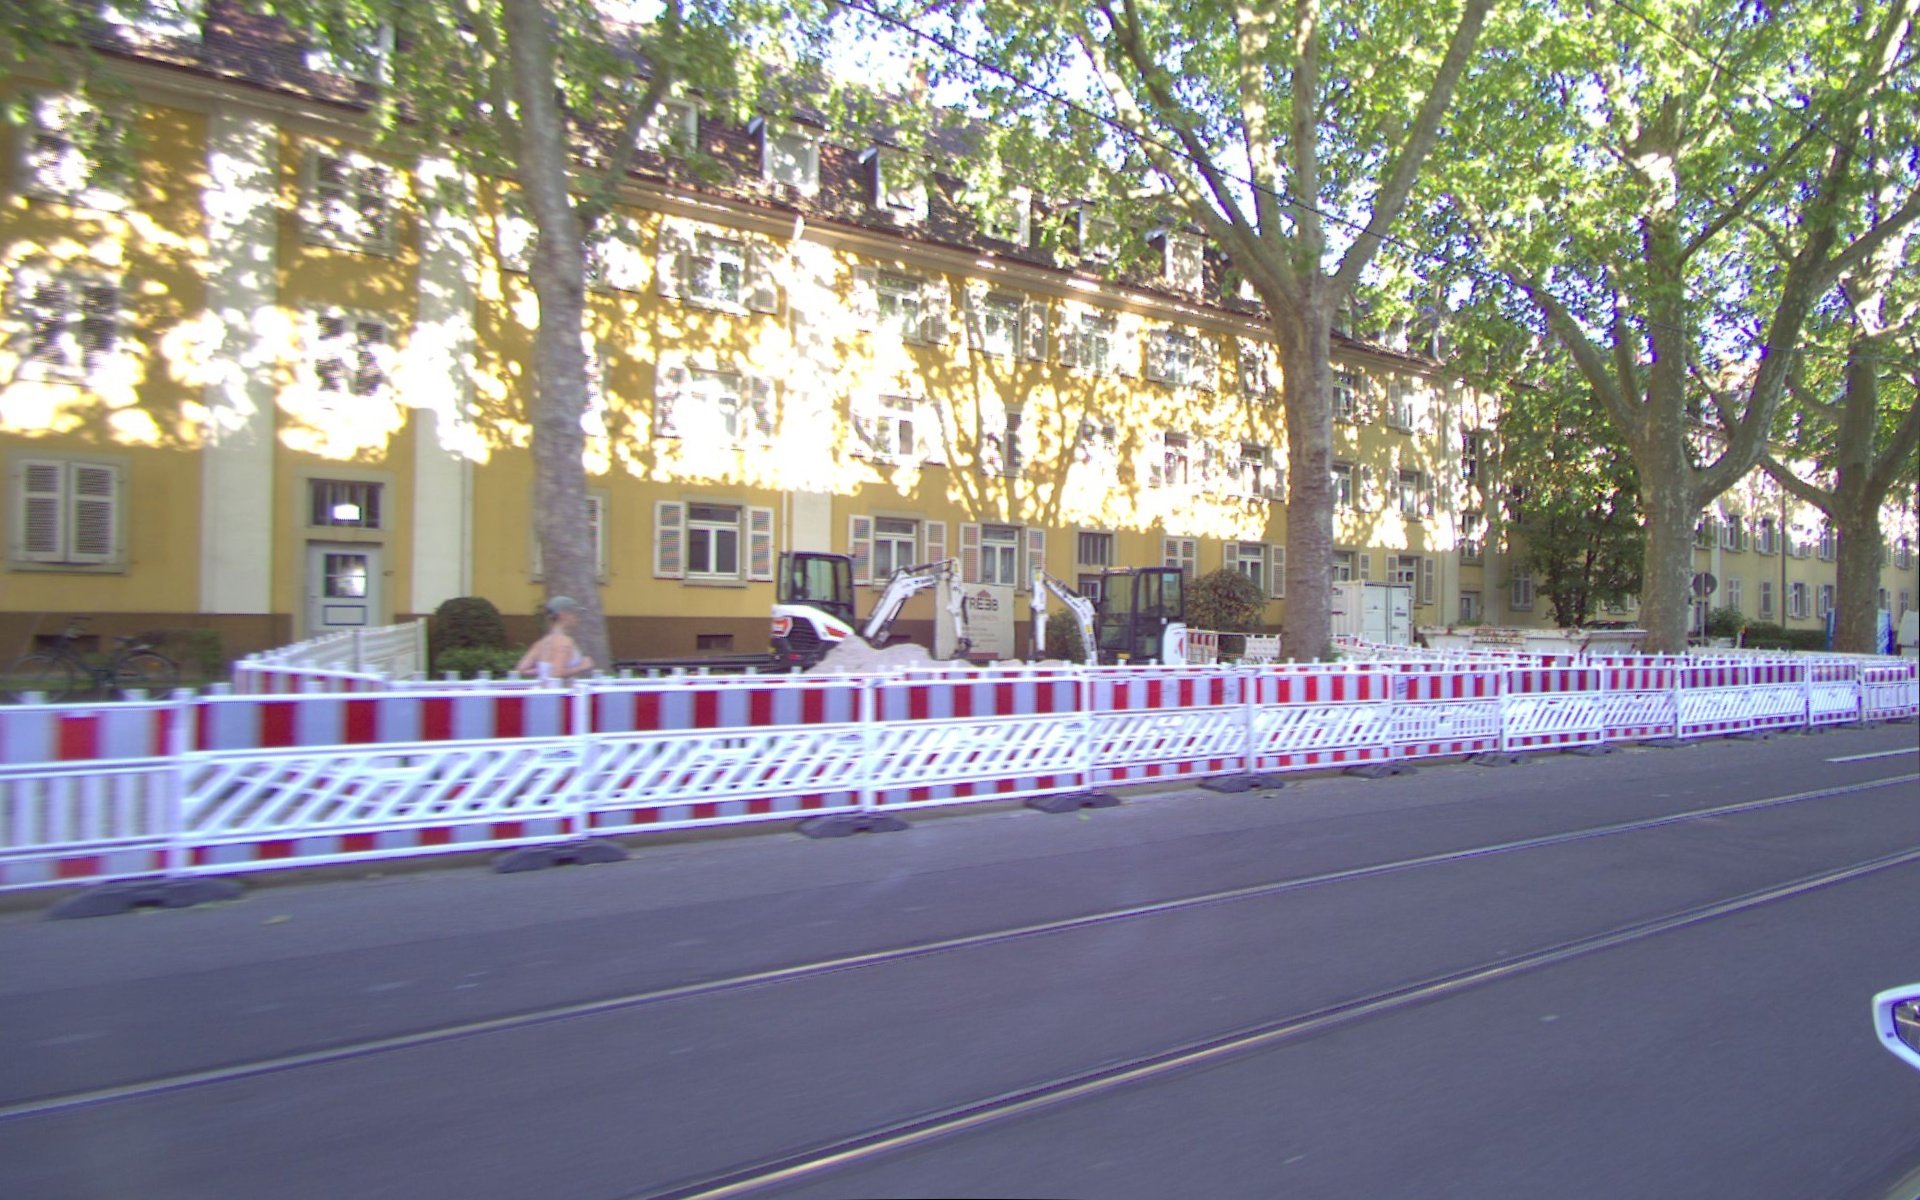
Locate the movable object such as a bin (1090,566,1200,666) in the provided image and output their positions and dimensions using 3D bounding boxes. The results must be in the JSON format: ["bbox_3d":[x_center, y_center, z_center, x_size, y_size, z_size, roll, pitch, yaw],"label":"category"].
[{"bbox_3d":[3.231,0.278,17.588,1.541,1.667,1.092,2,0,-30],"label":"movable object such as a bin"}]

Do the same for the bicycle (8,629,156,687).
[{"bbox_3d":[-13.293,0.861,15.268,1.627,0.829,0.503,1,-1,-34],"label":"bicycle"}]

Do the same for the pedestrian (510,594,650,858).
[{"bbox_3d":[-2.629,0.814,6.929,0.769,1.691,0.713,2,0,-30],"label":"pedestrian"}]

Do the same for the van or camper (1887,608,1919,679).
[{"bbox_3d":[34.406,1.530,32.903,2.240,2.411,5.483,2,0,-26],"label":"van or camper"}]

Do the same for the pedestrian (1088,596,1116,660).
[{"bbox_3d":[3.761,0.740,26.591,0.660,1.678,0.672,1,-1,3],"label":"pedestrian"}]

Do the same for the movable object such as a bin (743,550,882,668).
[{"bbox_3d":[-2.547,0.170,17.310,1.984,1.893,1.327,2,0,-30],"label":"movable object such as a bin"}]
